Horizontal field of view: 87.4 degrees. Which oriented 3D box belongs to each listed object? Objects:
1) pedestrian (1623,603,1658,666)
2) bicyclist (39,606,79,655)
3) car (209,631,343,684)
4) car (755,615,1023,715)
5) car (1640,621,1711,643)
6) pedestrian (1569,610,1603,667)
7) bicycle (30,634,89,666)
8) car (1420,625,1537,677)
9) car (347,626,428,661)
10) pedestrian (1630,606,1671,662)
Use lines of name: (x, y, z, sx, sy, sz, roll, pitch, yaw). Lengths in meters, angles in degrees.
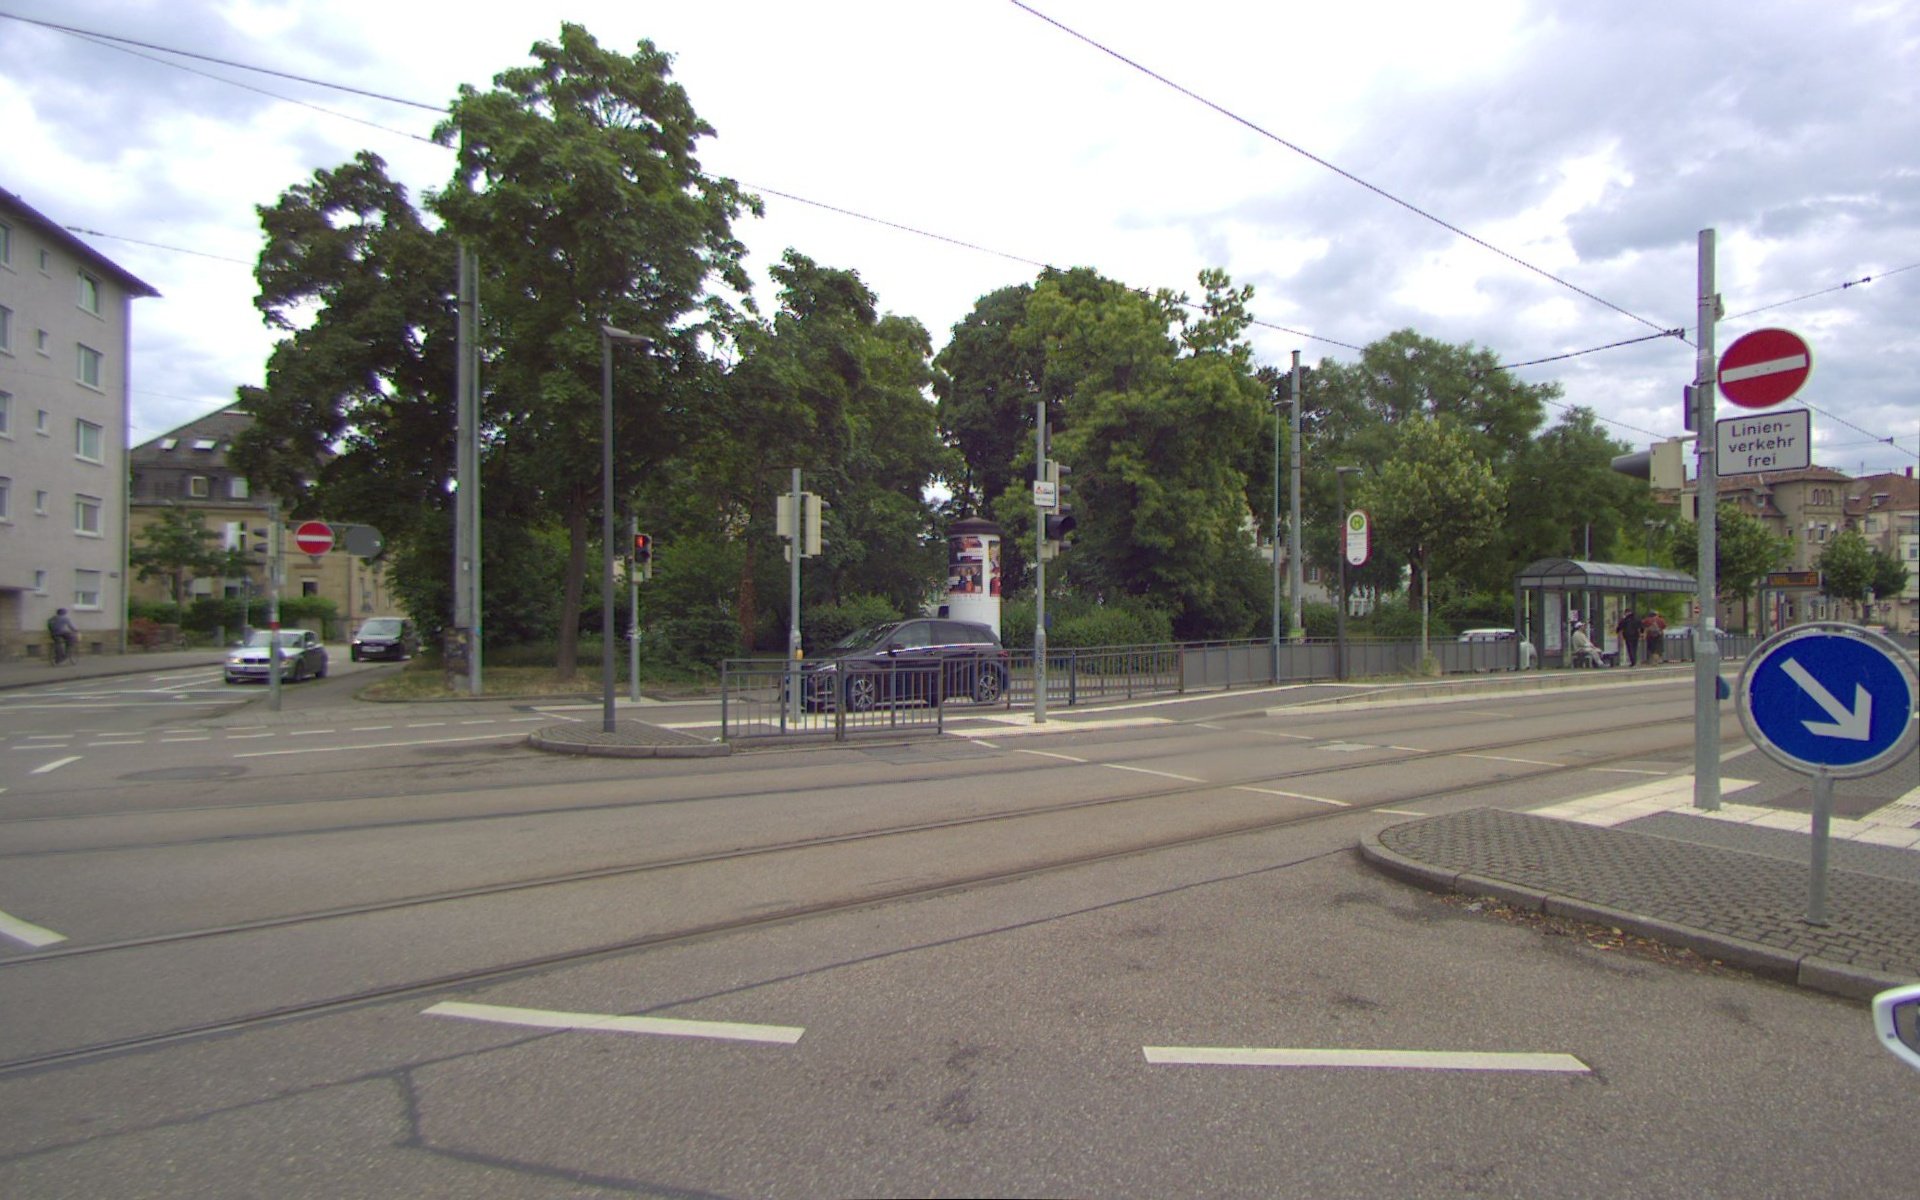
pedestrian: (19.355, 0.980, 28.559, 0.694, 1.738, 0.692, 1, -2, -45)
bicyclist: (-29.905, 1.013, 33.364, 0.647, 1.585, 0.858, 0, -1, -16)
car: (-19.284, 1.563, 28.531, 1.967, 1.372, 4.024, 0, -2, -16)
car: (-1.123, 1.056, 17.433, 4.501, 1.513, 1.755, 2, -2, -41)
car: (52.072, 2.327, 73.143, 1.759, 1.513, 3.847, 1, -2, -36)
pedestrian: (18.200, 1.111, 29.219, 0.674, 1.645, 0.627, 1, -2, -37)
bicycle: (-29.920, 1.661, 33.404, 0.645, 1.016, 1.959, 0, -1, -16)
car: (16.076, 1.547, 31.109, 3.851, 1.513, 1.757, 2, -2, -37)
car: (-23.325, 1.746, 41.082, 1.967, 1.372, 4.024, 0, -2, -16)
pedestrian: (21.066, 1.029, 30.628, 1.016, 1.682, 0.762, 1, -2, -40)
